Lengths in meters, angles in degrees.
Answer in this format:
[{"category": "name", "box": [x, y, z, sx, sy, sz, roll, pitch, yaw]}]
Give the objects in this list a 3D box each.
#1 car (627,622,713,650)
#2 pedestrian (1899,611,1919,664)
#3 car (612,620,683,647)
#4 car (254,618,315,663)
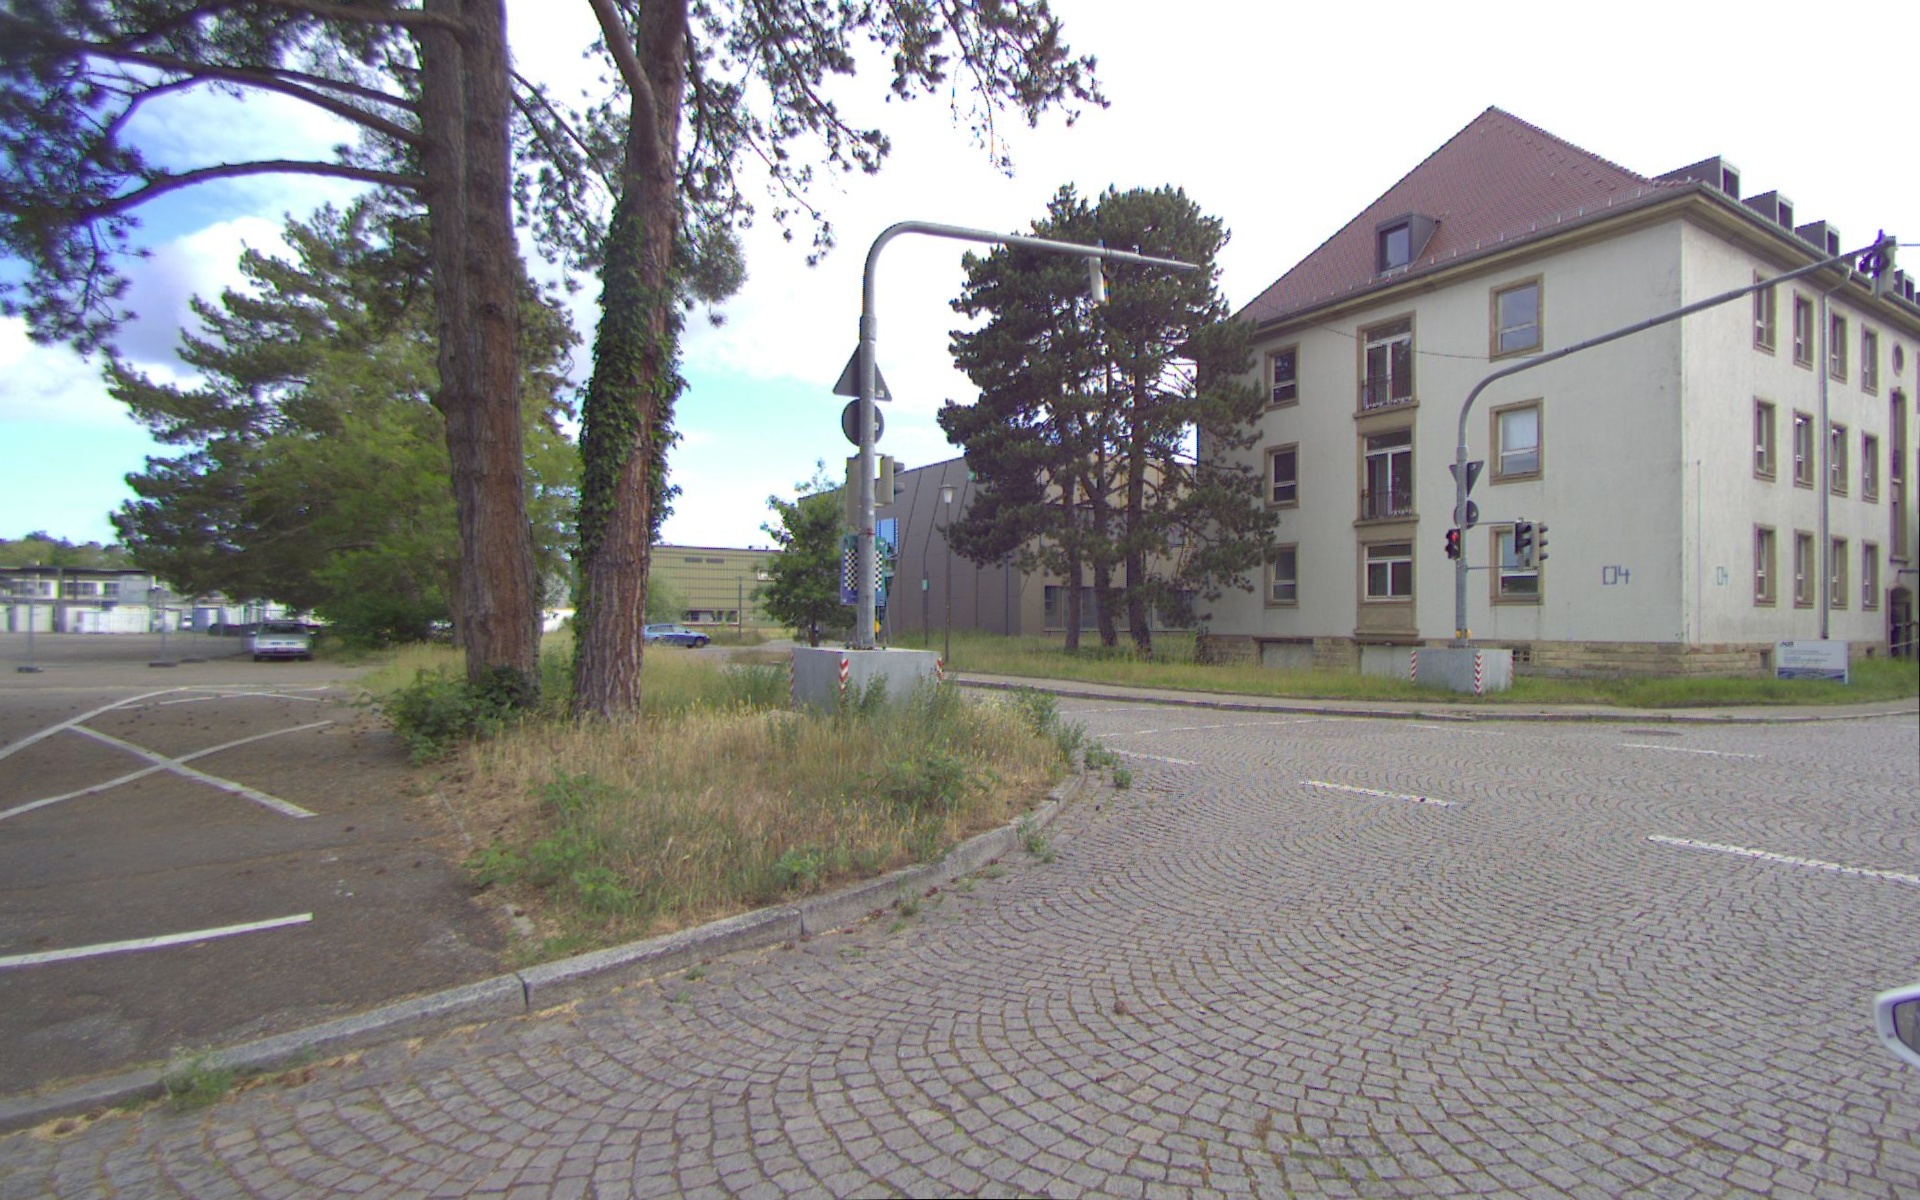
[{"category": "car", "box": [-16.951, 2.097, 58.754, 4.451, 1.482, 1.915, -1, 0, -36]}, {"category": "pedestrian", "box": [32.780, 1.276, 34.266, 0.929, 1.804, 0.834, 1, -1, -28]}, {"category": "car", "box": [-20.315, 2.163, 65.385, 4.080, 1.593, 1.747, -1, 0, -36]}, {"category": "car", "box": [-24.380, 1.437, 36.290, 1.717, 1.451, 4.122, 1, -1, -34]}]
